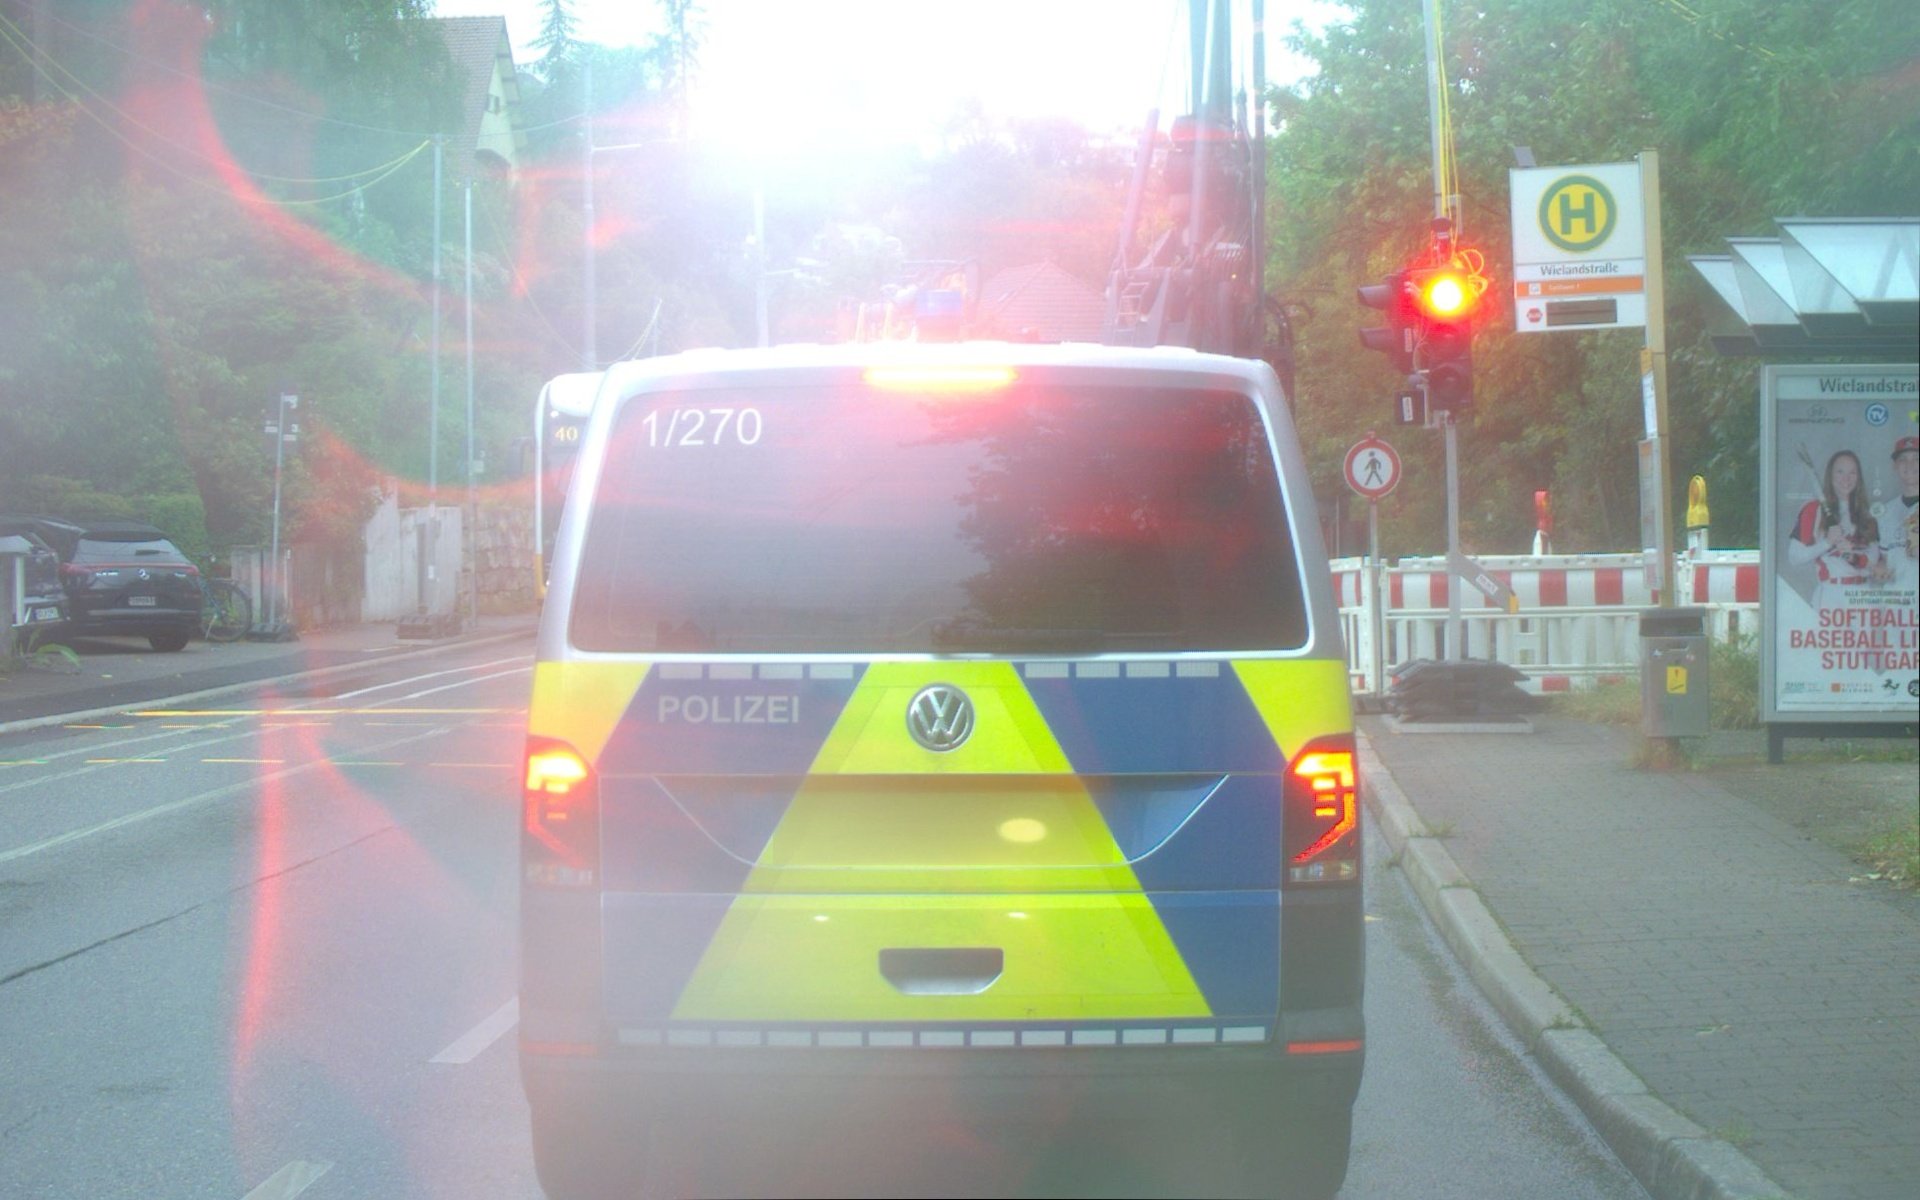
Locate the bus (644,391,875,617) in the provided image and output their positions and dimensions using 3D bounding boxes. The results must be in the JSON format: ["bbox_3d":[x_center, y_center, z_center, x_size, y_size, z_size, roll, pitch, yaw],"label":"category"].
[{"bbox_3d":[-3.390,-1.682,61.492,2.841,3.612,12.005,1,1,3],"label":"bus"}]

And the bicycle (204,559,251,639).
[{"bbox_3d":[-8.444,-0.023,39.600,0.462,0.894,1.634,0,1,-15],"label":"bicycle"}]

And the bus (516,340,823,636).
[{"bbox_3d":[-3.925,-1.545,49.541,2.841,3.705,12.005,1,1,3],"label":"bus"}]

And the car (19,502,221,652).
[{"bbox_3d":[-9.326,-0.282,37.983,1.765,1.481,3.743,1,3,-20],"label":"car"}]

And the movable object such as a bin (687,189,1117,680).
[{"bbox_3d":[-0.423,-1.462,31.639,2.832,4.163,4.378,1,1,15],"label":"movable object such as a bin"}]

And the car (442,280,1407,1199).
[{"bbox_3d":[-0.096,0.358,8.840,1.893,2.043,4.000,1,1,-1],"label":"car"}]
